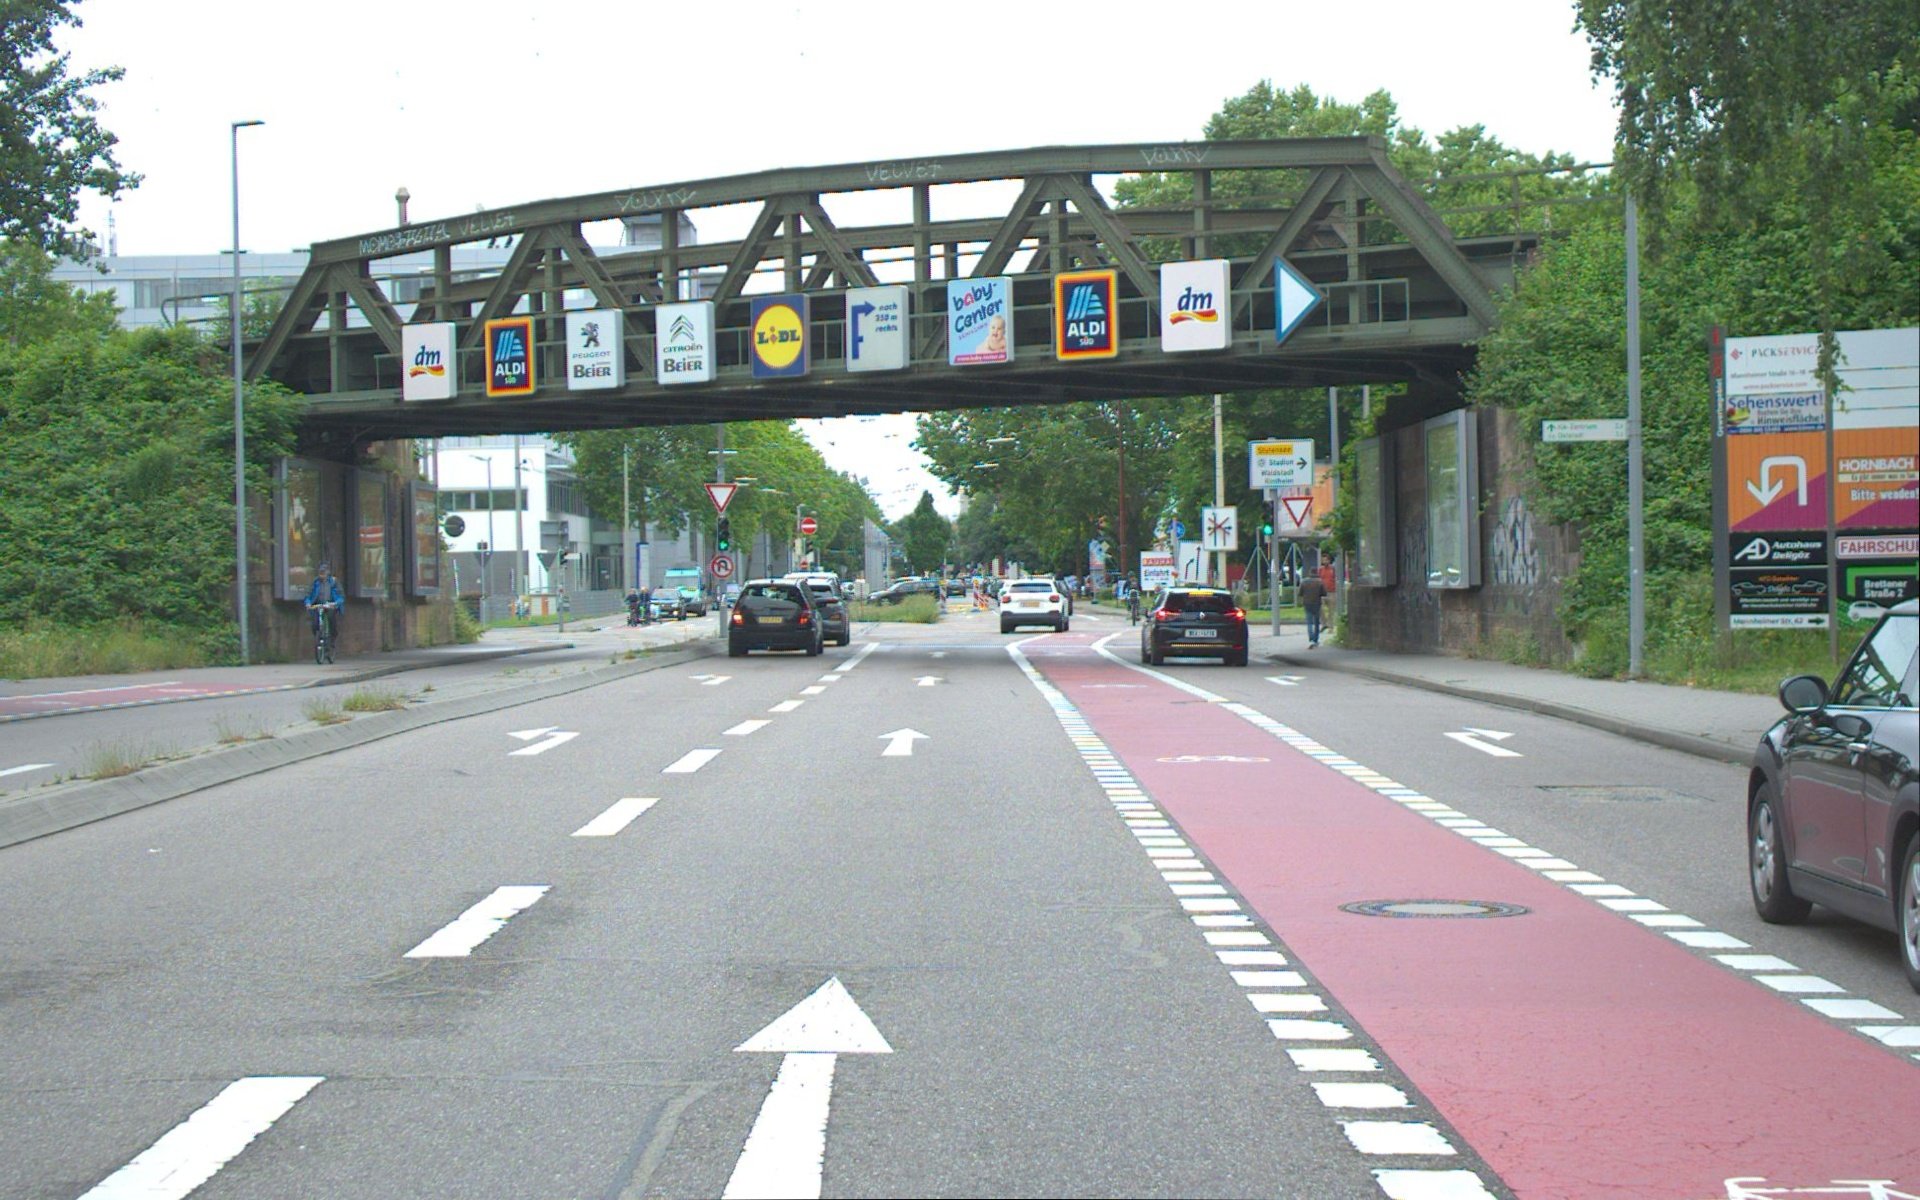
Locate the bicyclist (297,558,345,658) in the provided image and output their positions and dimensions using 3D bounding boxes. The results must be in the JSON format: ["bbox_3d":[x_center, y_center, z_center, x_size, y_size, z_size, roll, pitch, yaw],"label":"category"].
[{"bbox_3d":[-12.024,0.148,64.704,0.702,1.868,1.020,1,0,0],"label":"bicyclist"}]

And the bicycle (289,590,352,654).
[{"bbox_3d":[-12.027,0.407,64.708,0.713,1.183,2.370,1,0,0],"label":"bicycle"}]

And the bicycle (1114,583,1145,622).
[{"bbox_3d":[5.425,0.069,110.079,0.816,1.208,2.683,-1,0,0],"label":"bicycle"}]

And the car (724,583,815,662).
[{"bbox_3d":[-3.839,0.427,69.236,1.768,1.522,3.670,0,1,-3],"label":"car"}]

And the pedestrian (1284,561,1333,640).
[{"bbox_3d":[7.273,0.003,71.785,0.741,1.634,0.779,-1,0,-18],"label":"pedestrian"}]

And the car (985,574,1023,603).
[{"bbox_3d":[2.341,-0.638,184.382,1.795,1.508,3.706,0,1,-3],"label":"car"}]

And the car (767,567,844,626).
[{"bbox_3d":[-4.209,-0.120,92.946,1.961,1.522,5.011,0,1,-4],"label":"car"}]

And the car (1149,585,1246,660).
[{"bbox_3d":[4.246,0.383,61.752,1.647,1.276,3.419,0,1,3],"label":"car"}]

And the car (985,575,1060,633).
[{"bbox_3d":[1.756,0.106,97.603,1.823,1.595,3.776,0,1,-3],"label":"car"}]

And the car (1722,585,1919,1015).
[{"bbox_3d":[4.125,0.674,13.115,1.679,1.426,3.774,0,1,2],"label":"car"}]

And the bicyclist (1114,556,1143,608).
[{"bbox_3d":[5.406,-0.585,110.075,0.816,1.624,1.235,-1,0,0],"label":"bicyclist"}]

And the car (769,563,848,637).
[{"bbox_3d":[-3.526,-0.017,79.538,1.772,1.647,3.670,0,1,-3],"label":"car"}]

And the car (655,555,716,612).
[{"bbox_3d":[-13.986,-0.848,175.516,2.328,2.816,5.948,-1,0,3],"label":"car"}]
